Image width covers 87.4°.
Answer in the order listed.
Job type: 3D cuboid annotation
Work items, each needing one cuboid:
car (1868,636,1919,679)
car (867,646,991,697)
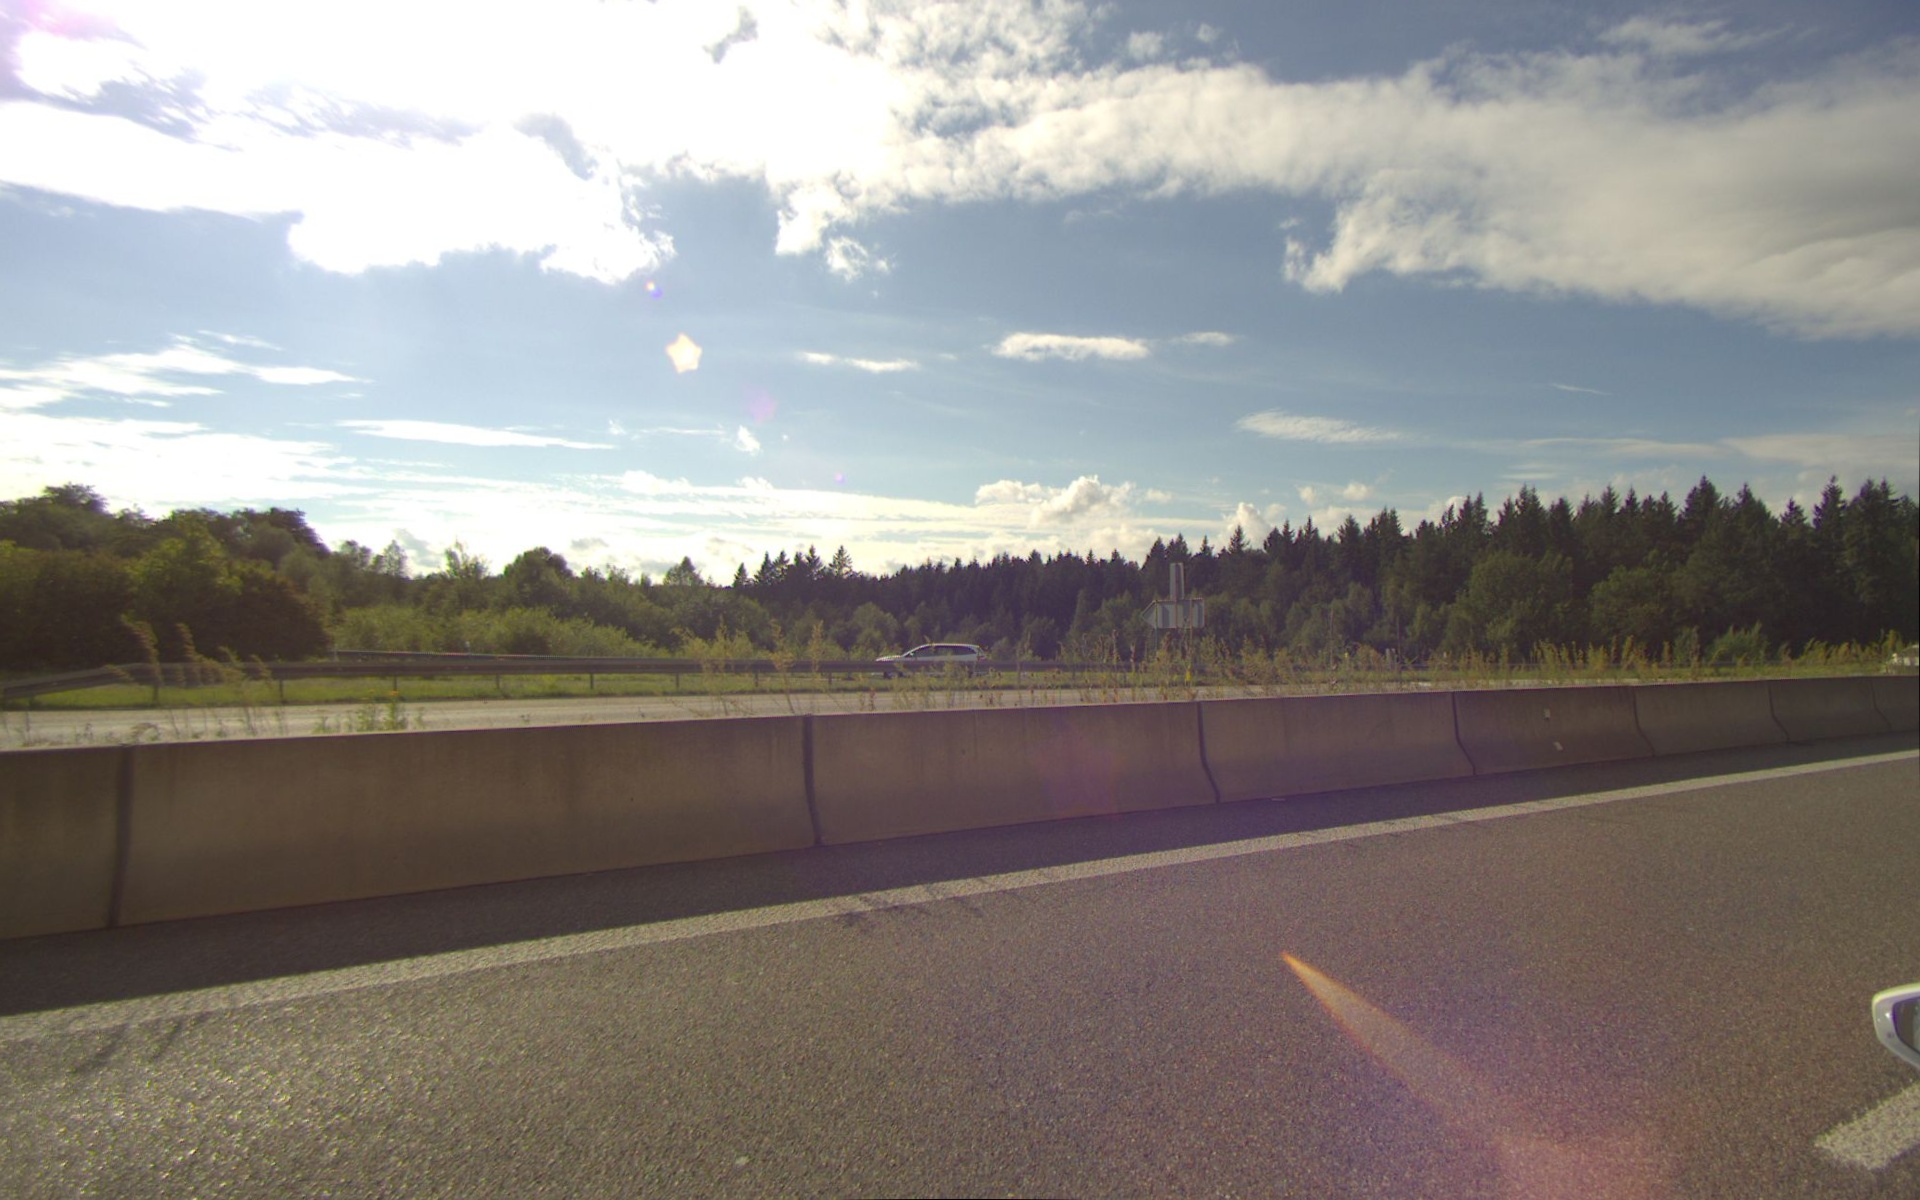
[{"bbox_3d":[36.865,2.174,38.369,4.877,1.496,1.908,2,0,-31],"label":"car"},{"bbox_3d":[-1.267,2.879,40.848,4.880,1.823,1.999,1,0,-2],"label":"car"}]
